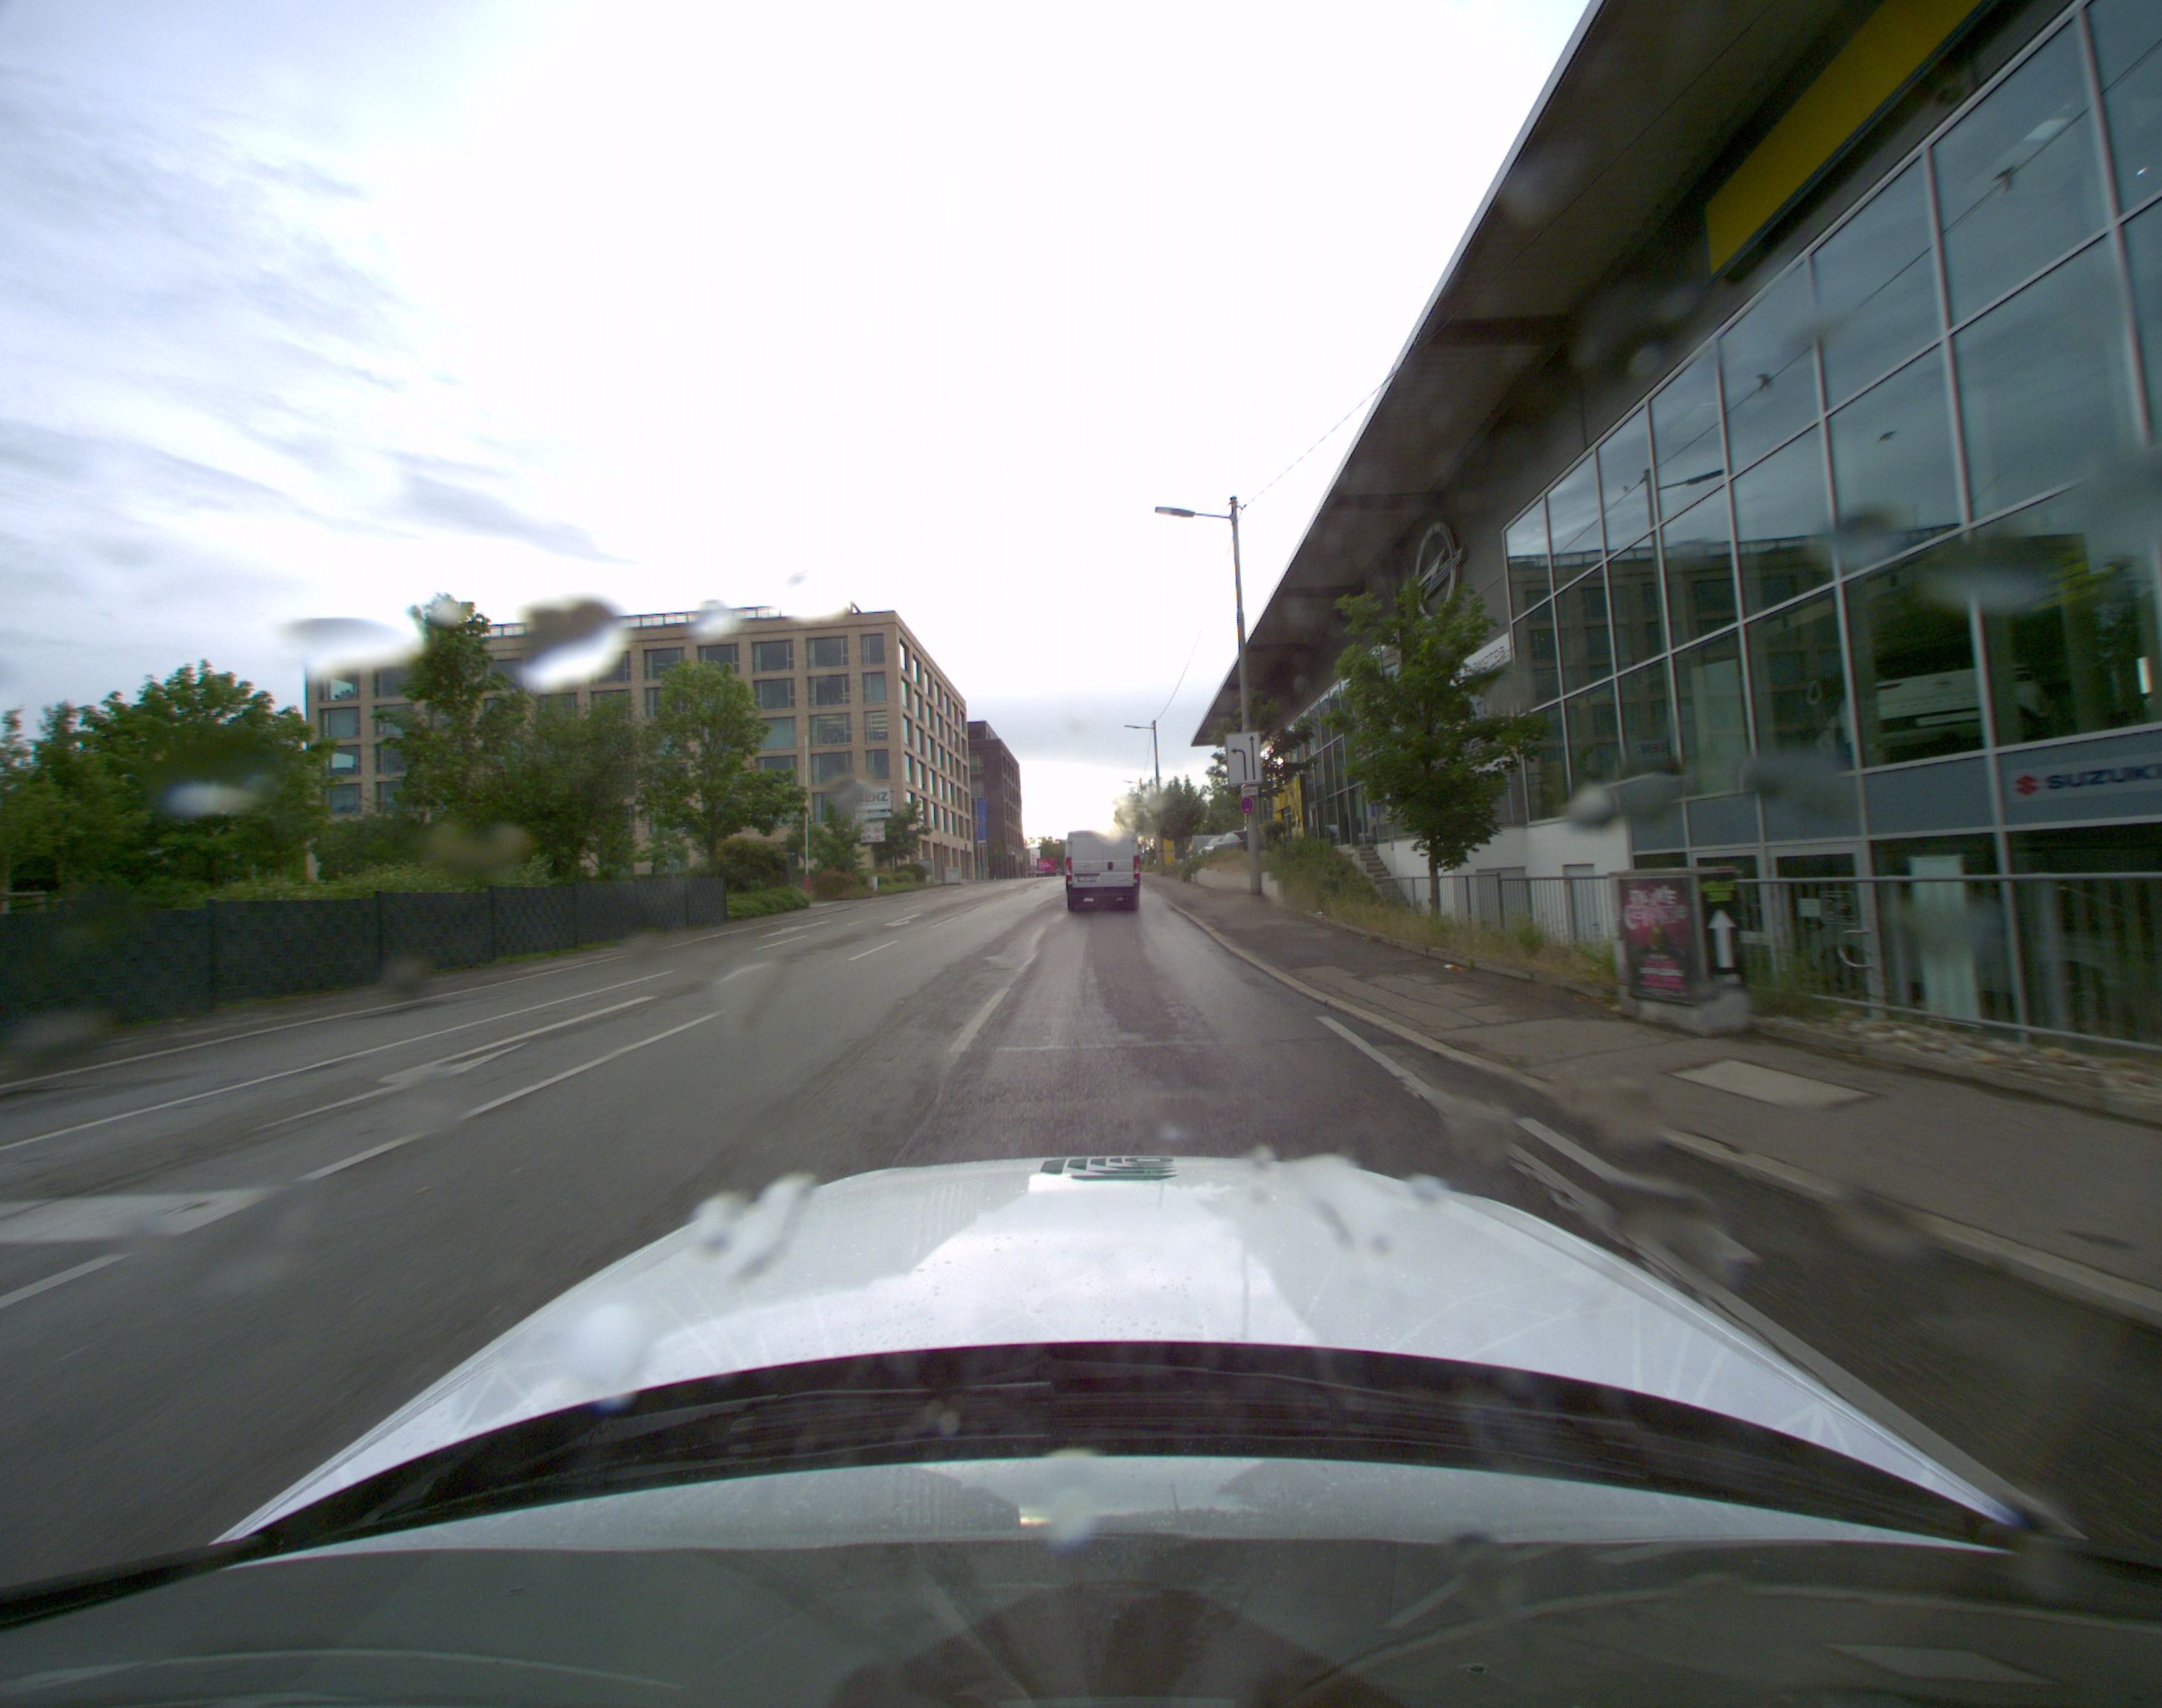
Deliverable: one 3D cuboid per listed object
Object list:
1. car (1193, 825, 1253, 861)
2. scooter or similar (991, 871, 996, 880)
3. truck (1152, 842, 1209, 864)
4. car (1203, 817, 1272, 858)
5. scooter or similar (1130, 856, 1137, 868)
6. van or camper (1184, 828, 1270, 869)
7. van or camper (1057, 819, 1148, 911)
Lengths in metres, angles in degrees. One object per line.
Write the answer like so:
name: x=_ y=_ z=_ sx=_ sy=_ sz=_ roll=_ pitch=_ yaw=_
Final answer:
car: x=7.802 y=-0.575 z=44.486 sx=1.975 sy=1.710 sz=4.604 roll=-5 pitch=-1 yaw=25
scooter or similar: x=-11.616 y=2.862 z=108.328 sx=0.349 sy=1.072 sz=1.429 roll=-2 pitch=-2 yaw=3
truck: x=9.653 y=-0.101 z=79.343 sx=5.132 sy=2.013 sz=2.345 roll=-2 pitch=0 yaw=-1
car: x=7.691 y=-0.793 z=39.696 sx=1.974 sy=1.710 sz=4.456 roll=-5 pitch=-1 yaw=28
scooter or similar: x=7.430 y=1.134 z=115.755 sx=0.436 sy=1.587 sz=1.264 roll=-2 pitch=0 yaw=-20
van or camper: x=10.402 y=-0.385 z=58.447 sx=5.715 sy=2.724 sz=2.353 roll=-2 pitch=0 yaw=1
van or camper: x=0.695 y=0.286 z=24.260 sx=2.330 sy=2.357 sz=5.203 roll=-2 pitch=0 yaw=3
